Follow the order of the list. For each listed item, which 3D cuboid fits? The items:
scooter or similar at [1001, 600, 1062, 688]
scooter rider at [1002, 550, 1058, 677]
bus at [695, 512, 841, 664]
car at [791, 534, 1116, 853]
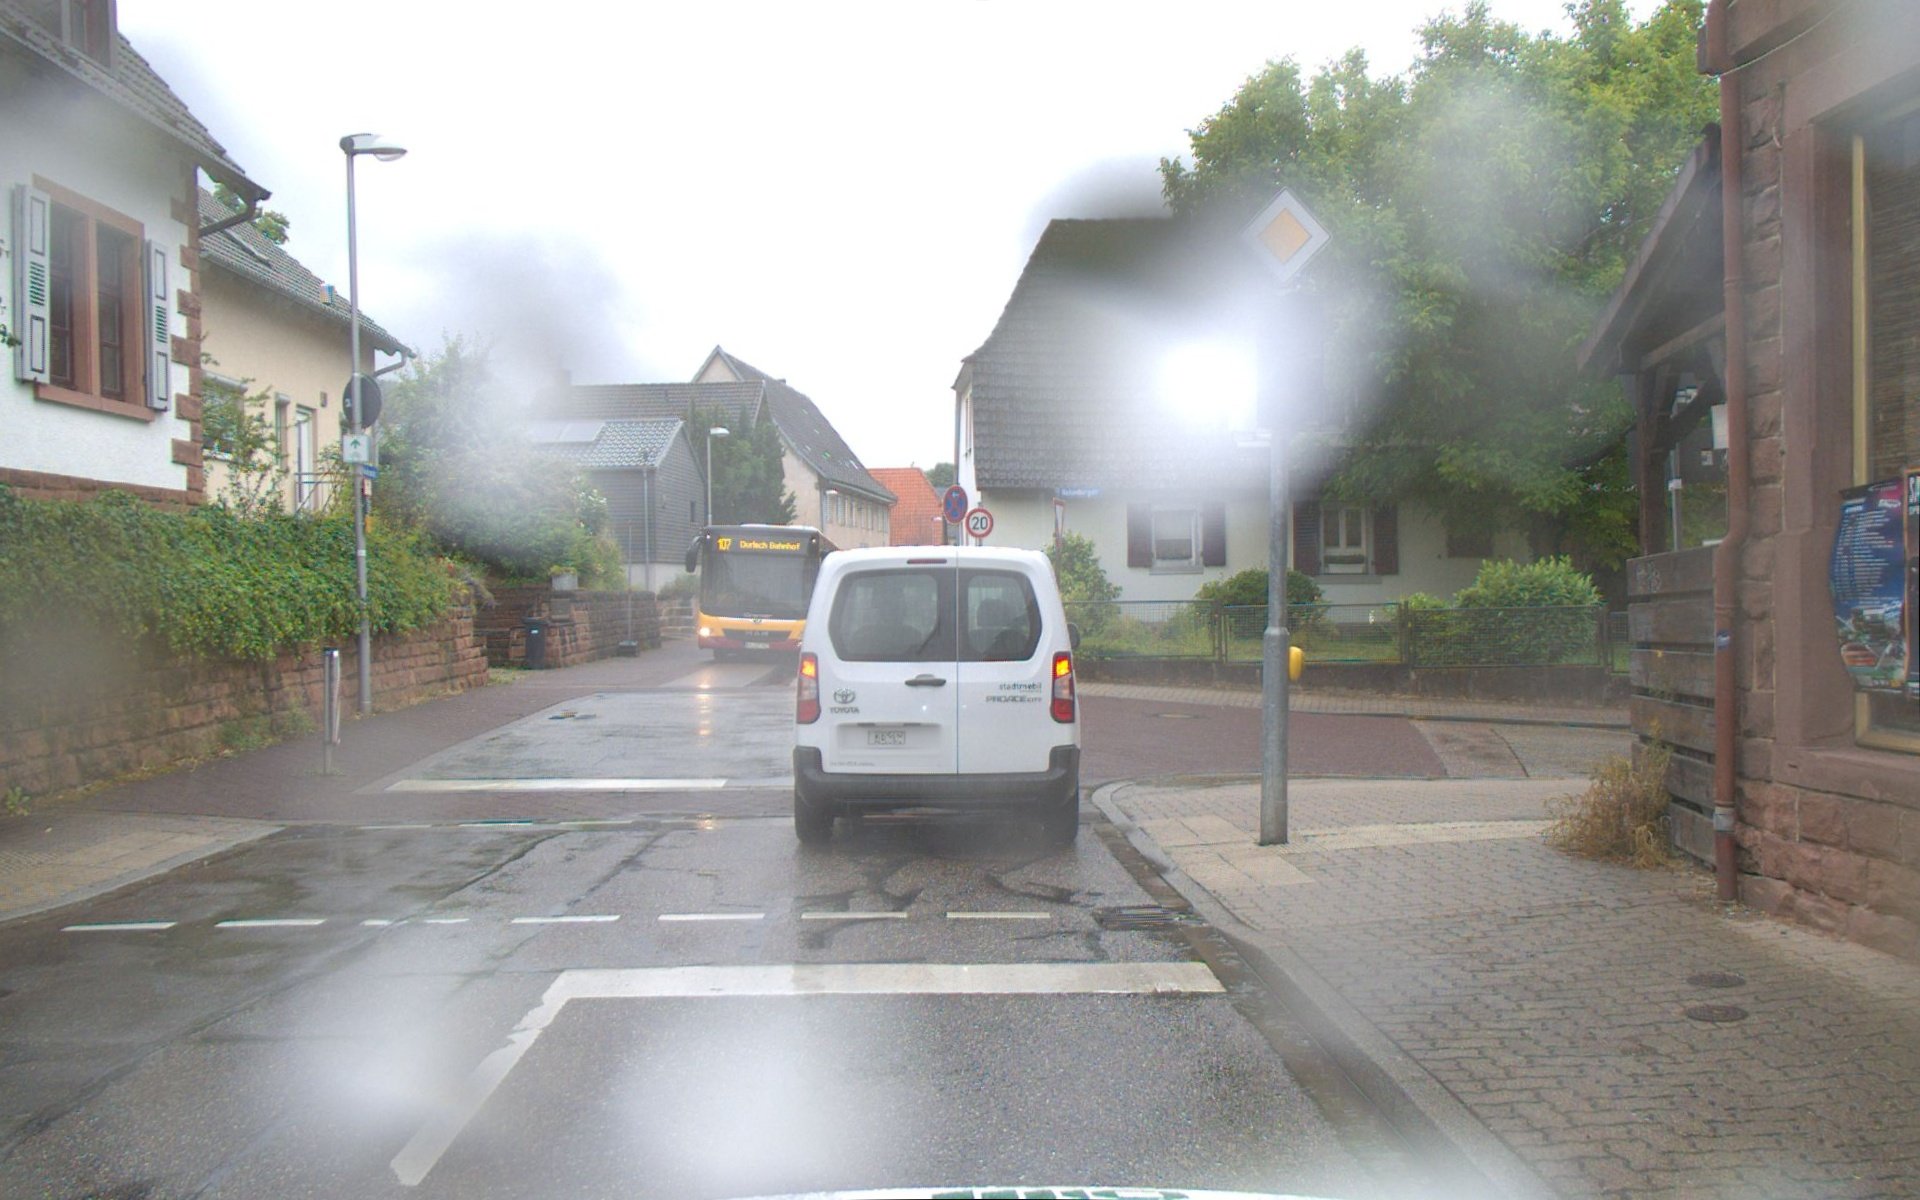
[{"bbox_3d":[0.987,0.592,23.157,0.609,1.146,1.399,0,2,-8],"label":"scooter or similar"},{"bbox_3d":[0.981,0.181,23.280,0.717,1.763,0.517,0,1,-9],"label":"scooter rider"},{"bbox_3d":[-4.307,-0.434,39.465,2.596,3.051,12.188,0,2,-3],"label":"bus"},{"bbox_3d":[-0.107,0.531,11.439,1.856,1.825,3.812,1,0,-2],"label":"car"}]
